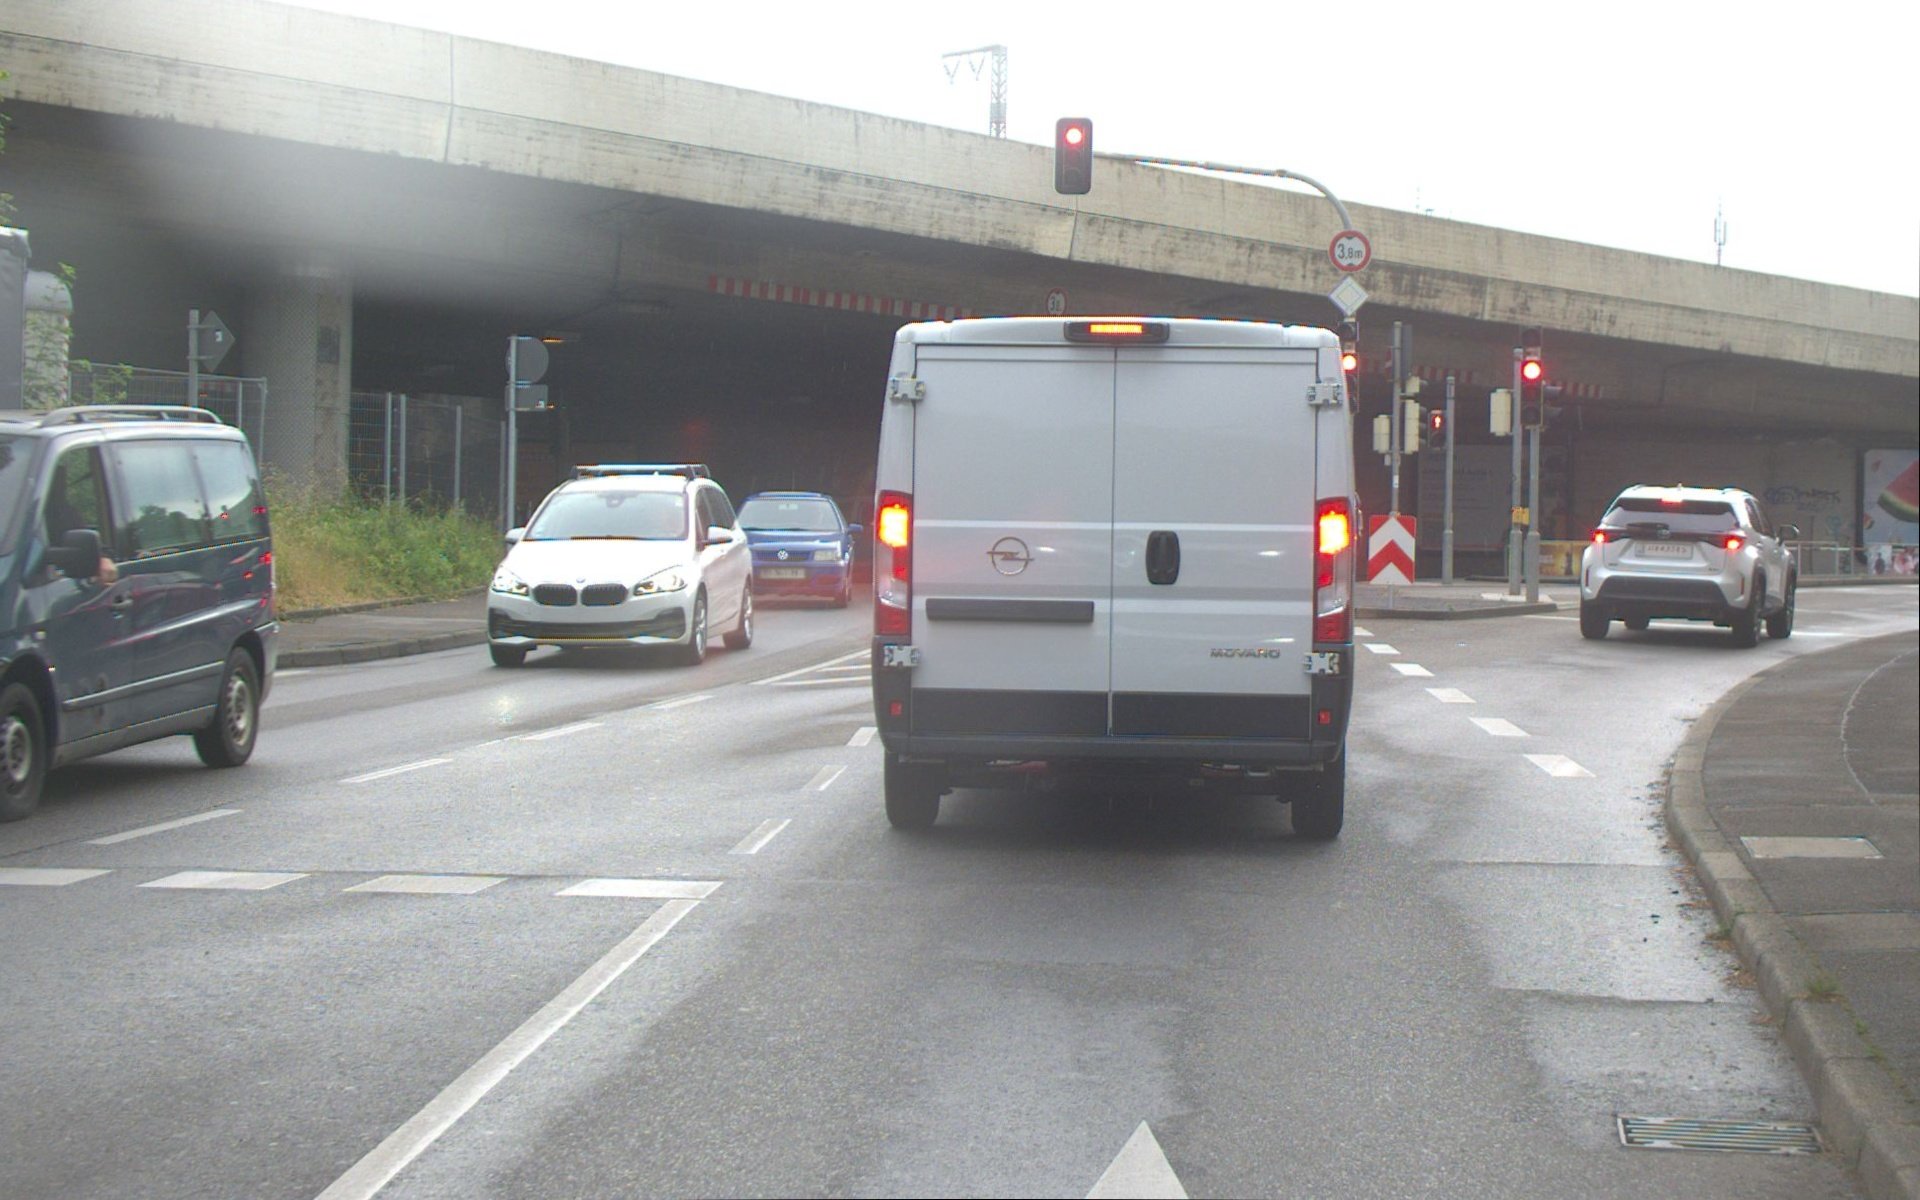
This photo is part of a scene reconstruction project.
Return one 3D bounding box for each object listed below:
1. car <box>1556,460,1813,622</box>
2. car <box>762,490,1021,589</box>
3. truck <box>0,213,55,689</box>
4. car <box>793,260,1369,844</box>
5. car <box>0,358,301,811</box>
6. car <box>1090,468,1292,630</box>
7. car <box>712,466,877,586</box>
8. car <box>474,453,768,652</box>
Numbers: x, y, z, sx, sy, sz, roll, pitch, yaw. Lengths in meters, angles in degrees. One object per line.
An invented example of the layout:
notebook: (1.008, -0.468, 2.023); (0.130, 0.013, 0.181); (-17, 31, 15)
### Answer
car: (7.530, -0.599, 35.464); (1.996, 1.544, 3.996); (2, 1, 20)
car: (-1.152, -1.012, 56.721); (3.997, 1.548, 1.995); (2, 1, 44)
truck: (-8.160, -0.963, 20.566); (2.611, 3.225, 7.775); (1, 2, 7)
car: (0.773, -0.302, 16.636); (2.305, 2.335, 5.281); (1, 2, 6)
car: (-4.854, -0.132, 16.769); (1.958, 1.924, 4.683); (1, 2, 6)
car: (2.710, -0.588, 39.527); (1.994, 1.723, 3.999); (1, 1, 8)
car: (-2.051, -0.964, 43.414); (1.598, 1.421, 3.697); (1, 2, 5)
car: (-2.932, -0.483, 30.611); (1.831, 1.573, 4.334); (2, 3, 4)
